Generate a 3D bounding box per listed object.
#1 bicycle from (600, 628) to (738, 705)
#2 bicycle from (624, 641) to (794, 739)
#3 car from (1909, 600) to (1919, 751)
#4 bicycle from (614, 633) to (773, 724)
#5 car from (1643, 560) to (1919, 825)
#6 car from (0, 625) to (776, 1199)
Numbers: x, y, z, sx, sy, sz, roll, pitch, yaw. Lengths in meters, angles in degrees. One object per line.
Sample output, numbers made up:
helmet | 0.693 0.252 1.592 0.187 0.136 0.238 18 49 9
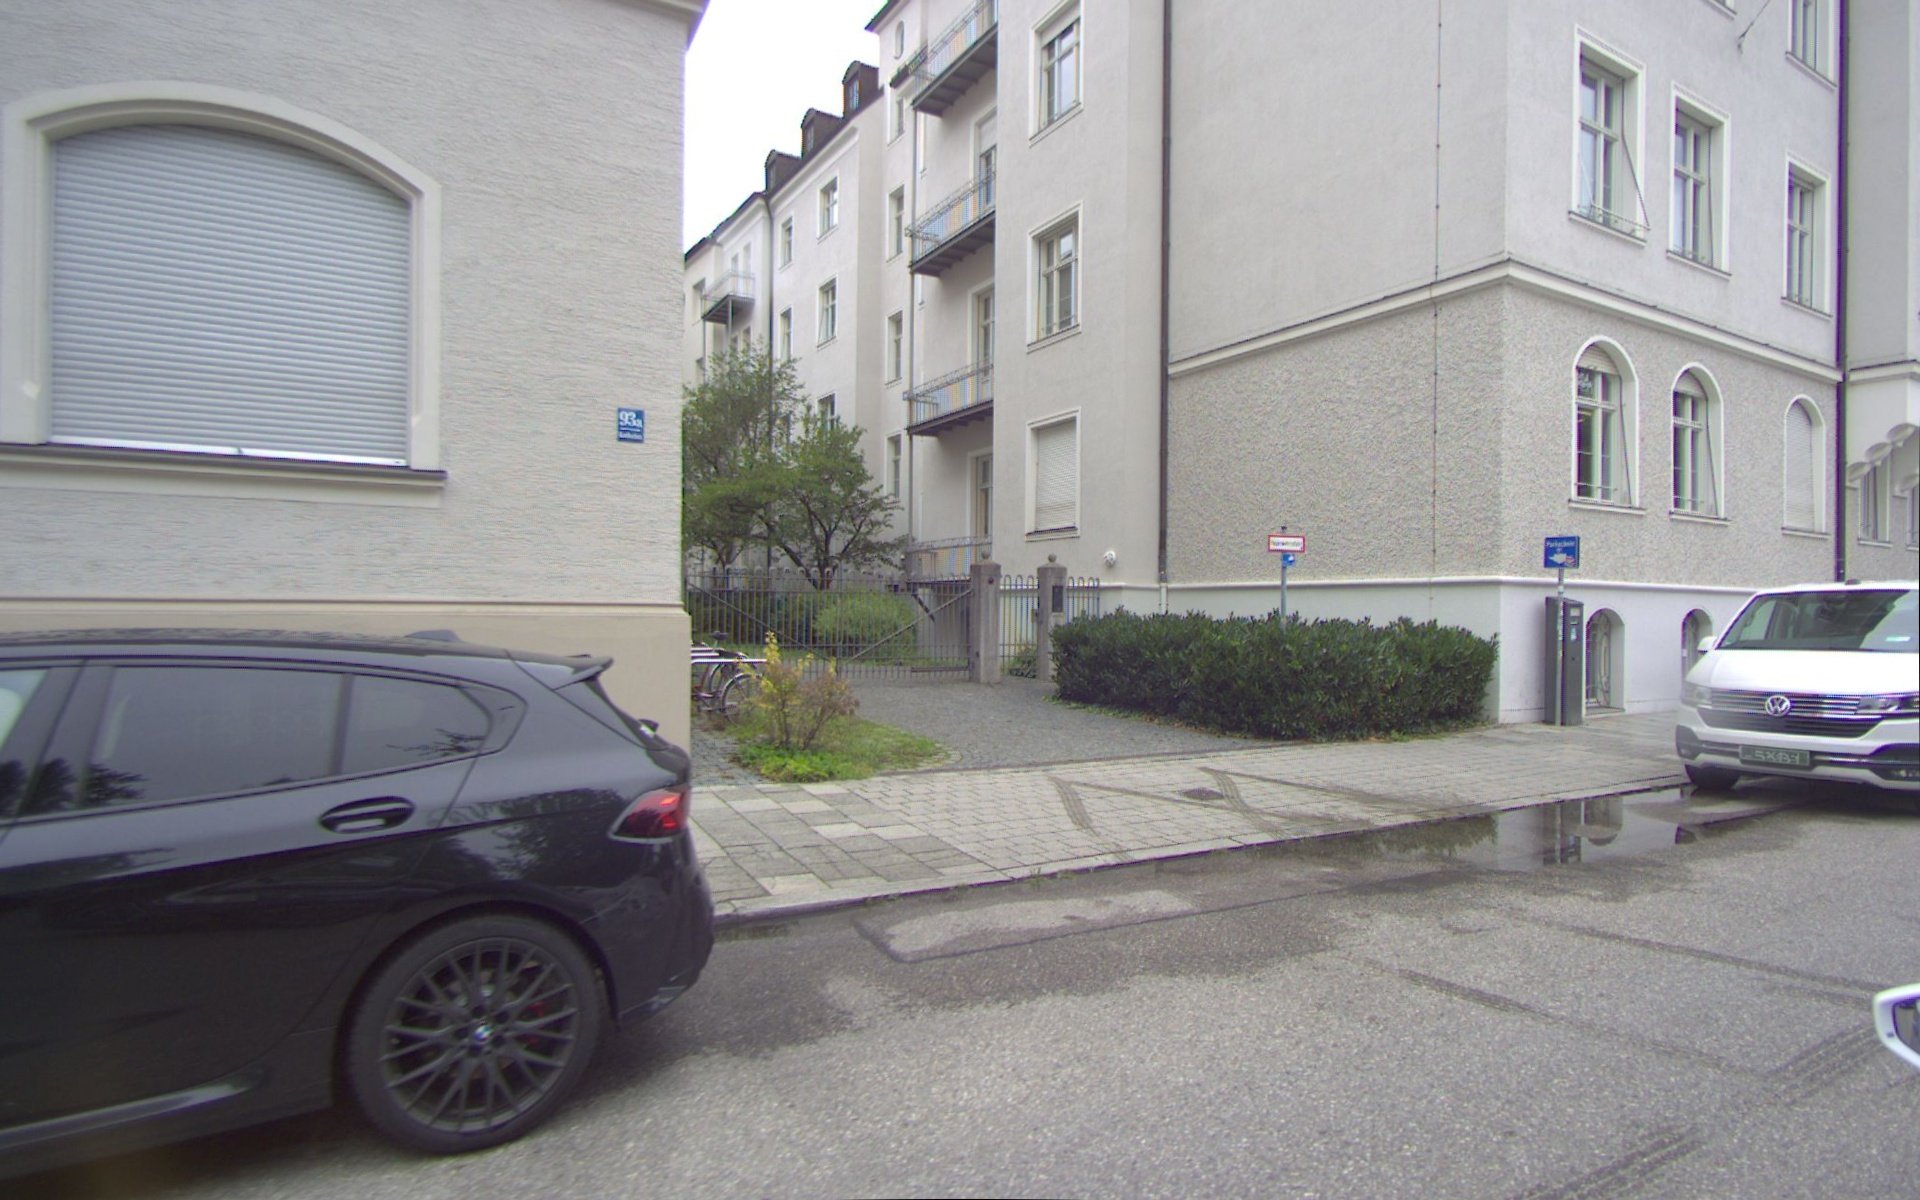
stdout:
bicycle | -3.956 0.892 13.680 1.754 0.998 0.446 1 0 -23
bicycle | -2.745 0.964 11.082 1.758 0.998 0.445 1 0 -30
car | 14.042 0.925 12.674 4.979 1.812 1.738 1 -2 -31
bicycle | -3.150 0.905 11.942 1.758 0.998 0.445 1 0 -30
car | 8.712 0.747 9.503 4.900 1.964 1.847 1 -2 -31
car | -2.908 0.800 2.929 4.327 1.430 1.847 1 -2 -30
